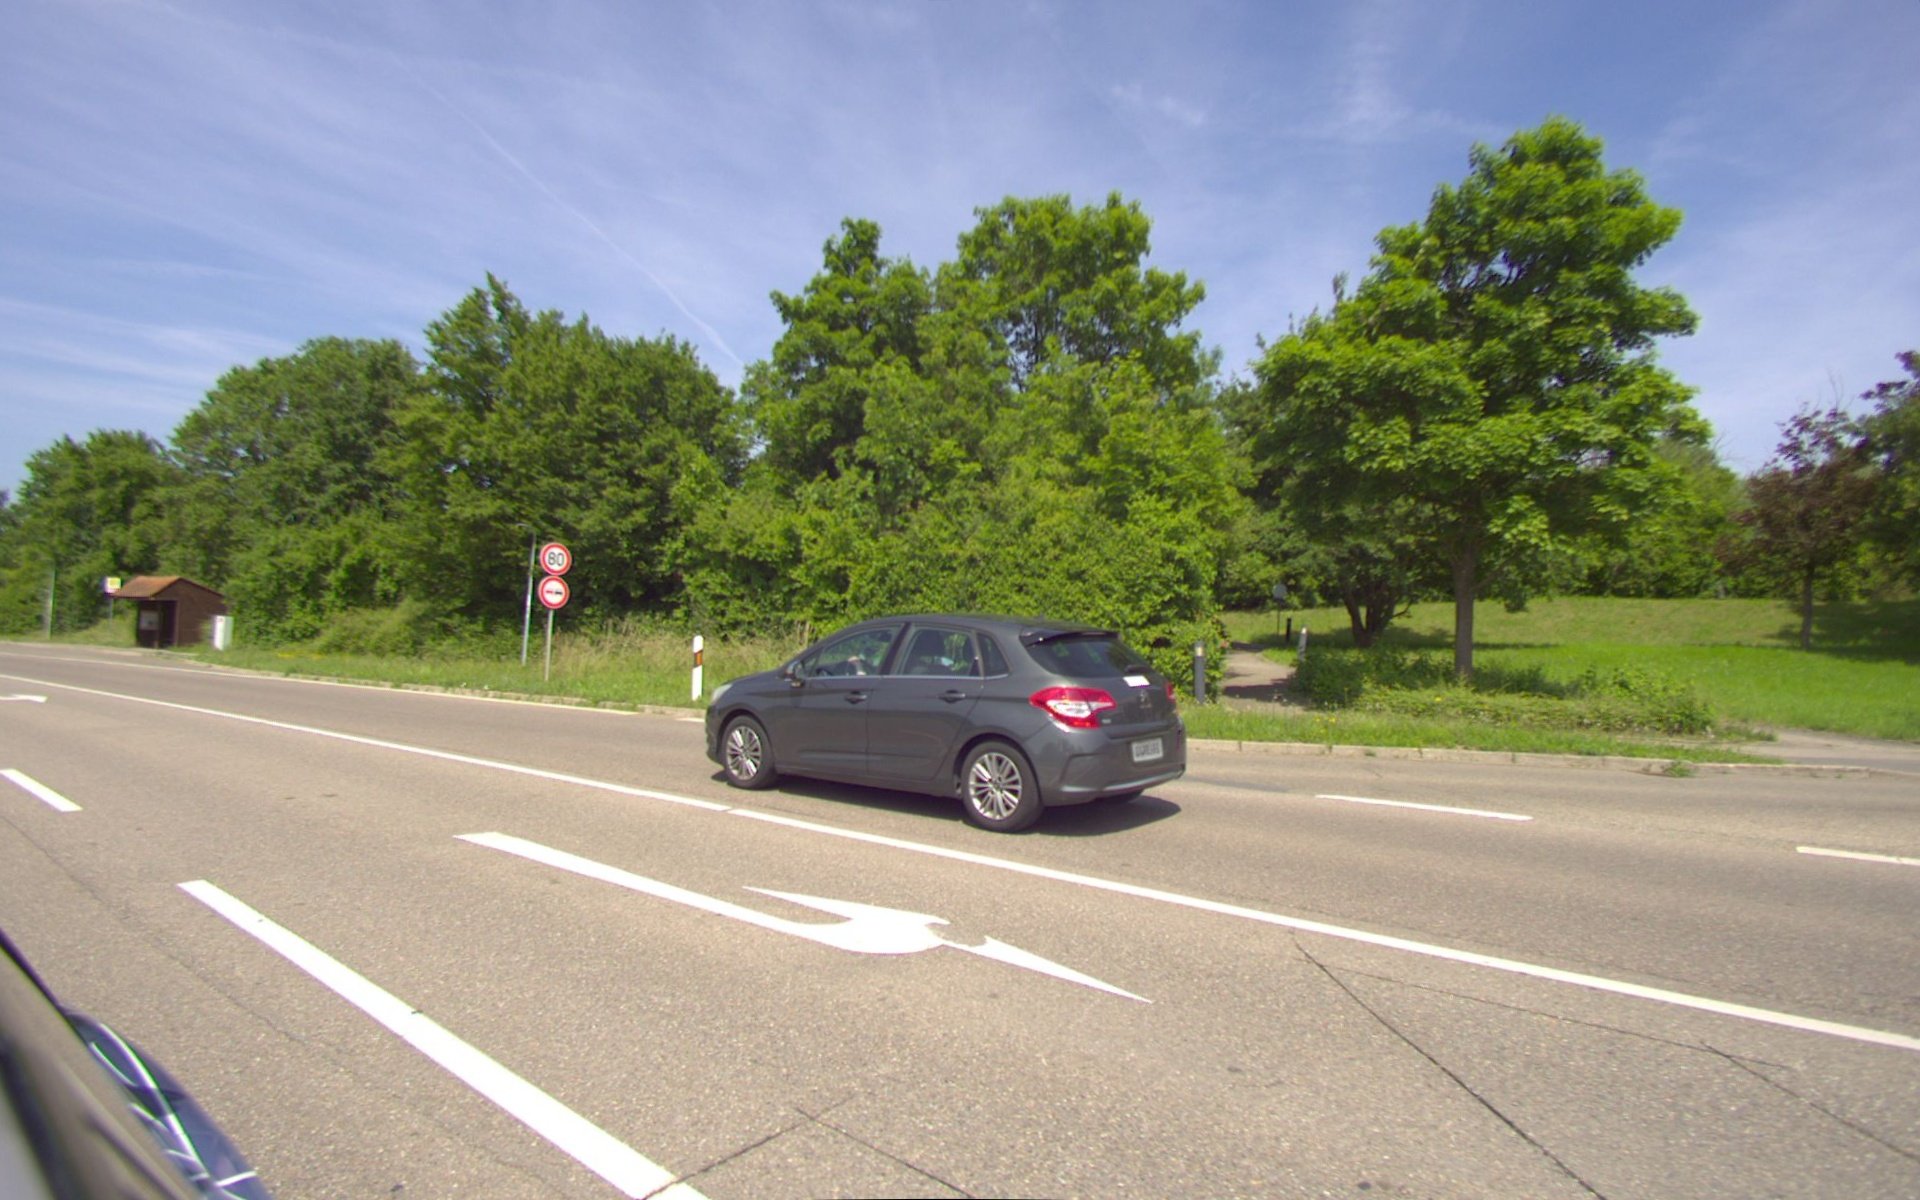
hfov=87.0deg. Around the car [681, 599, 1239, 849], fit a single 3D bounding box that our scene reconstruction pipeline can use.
[{"bbox_3d":[-0.175,0.773,8.081,4.305,1.485,1.774,-1,-2,39],"label":"car"}]
